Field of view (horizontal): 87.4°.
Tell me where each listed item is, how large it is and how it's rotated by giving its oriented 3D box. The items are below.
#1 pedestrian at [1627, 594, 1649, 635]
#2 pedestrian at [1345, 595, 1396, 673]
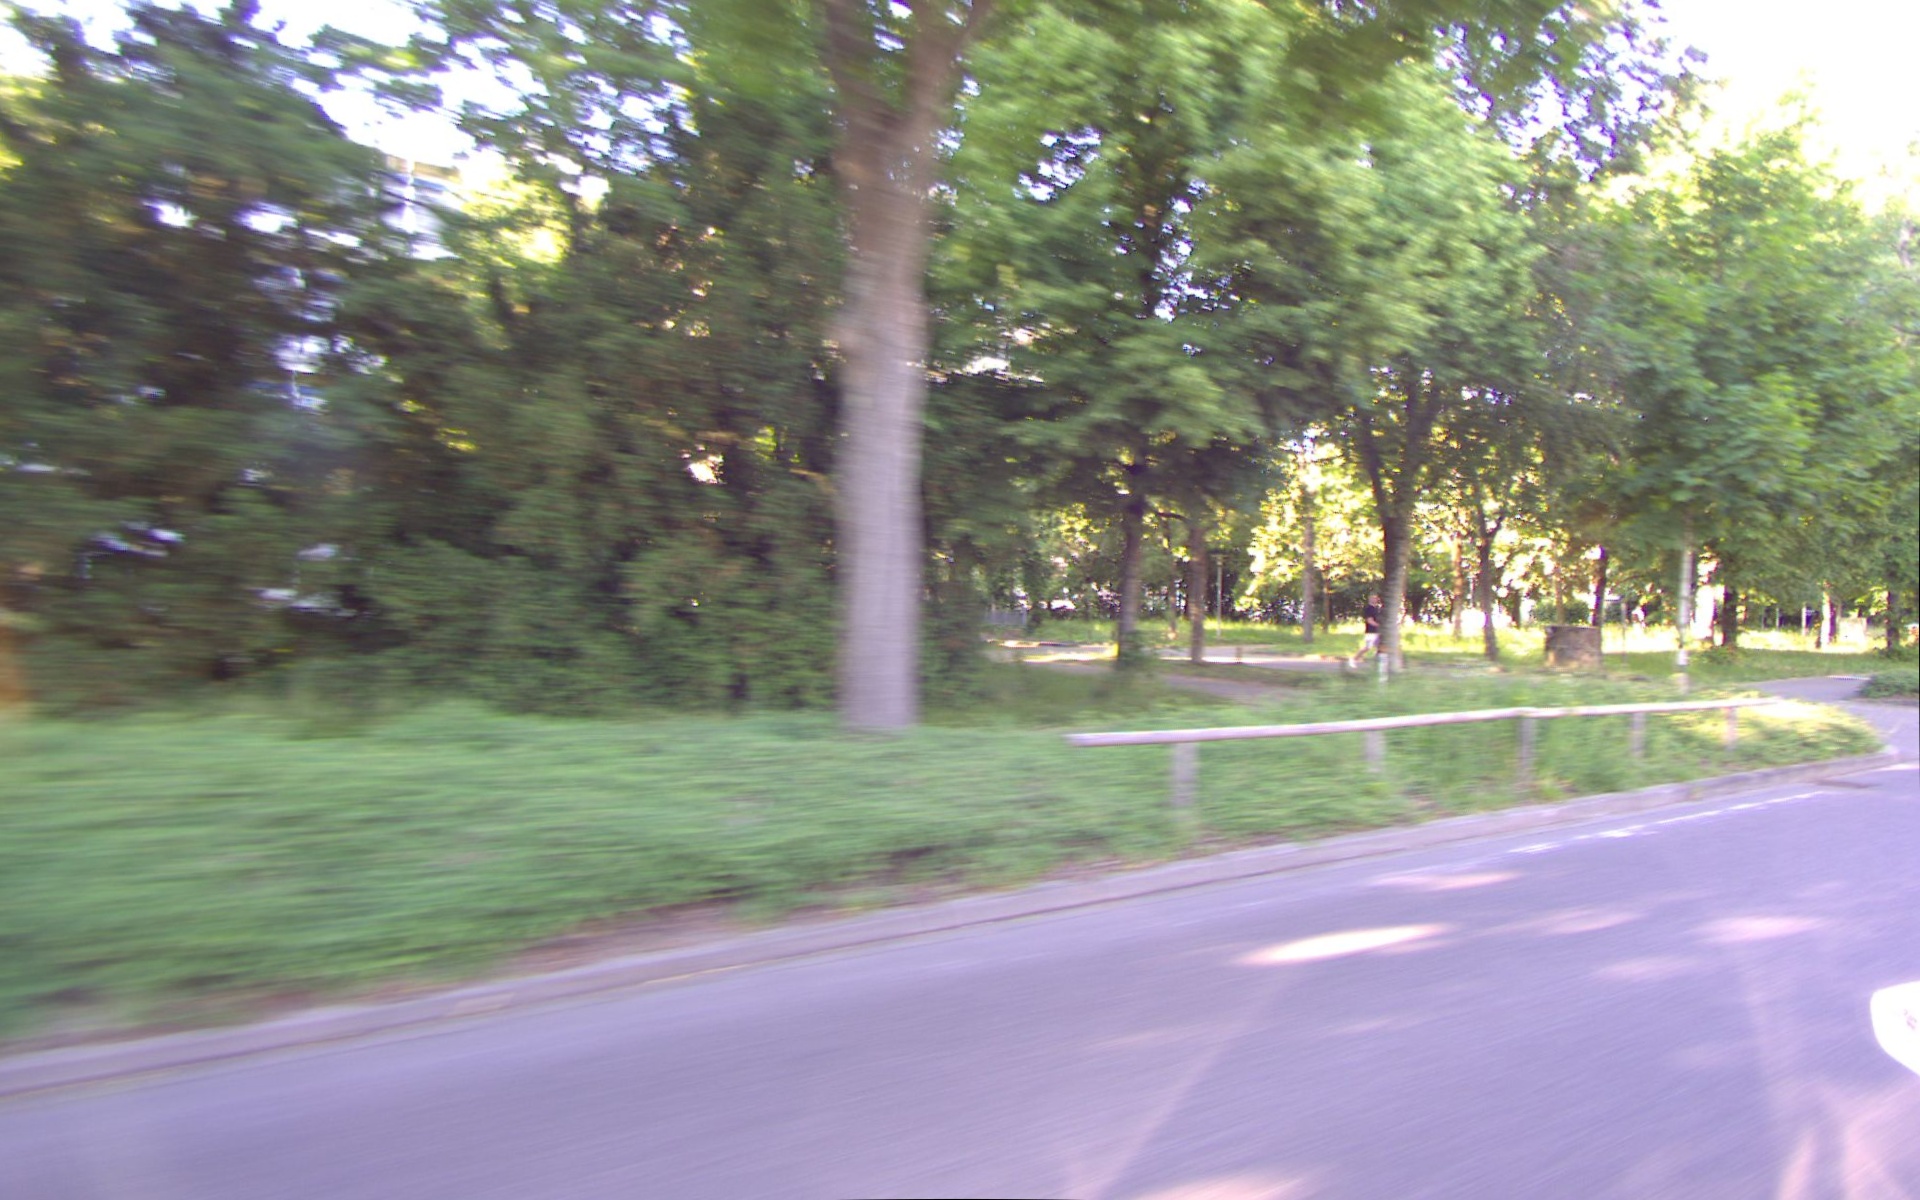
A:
[{"bbox_3d":[34.291,0.745,50.813,0.584,2.041,0.751,0,1,-35],"label":"pedestrian"},{"bbox_3d":[9.944,0.801,24.355,0.713,1.845,0.897,0,1,-33],"label":"pedestrian"}]
